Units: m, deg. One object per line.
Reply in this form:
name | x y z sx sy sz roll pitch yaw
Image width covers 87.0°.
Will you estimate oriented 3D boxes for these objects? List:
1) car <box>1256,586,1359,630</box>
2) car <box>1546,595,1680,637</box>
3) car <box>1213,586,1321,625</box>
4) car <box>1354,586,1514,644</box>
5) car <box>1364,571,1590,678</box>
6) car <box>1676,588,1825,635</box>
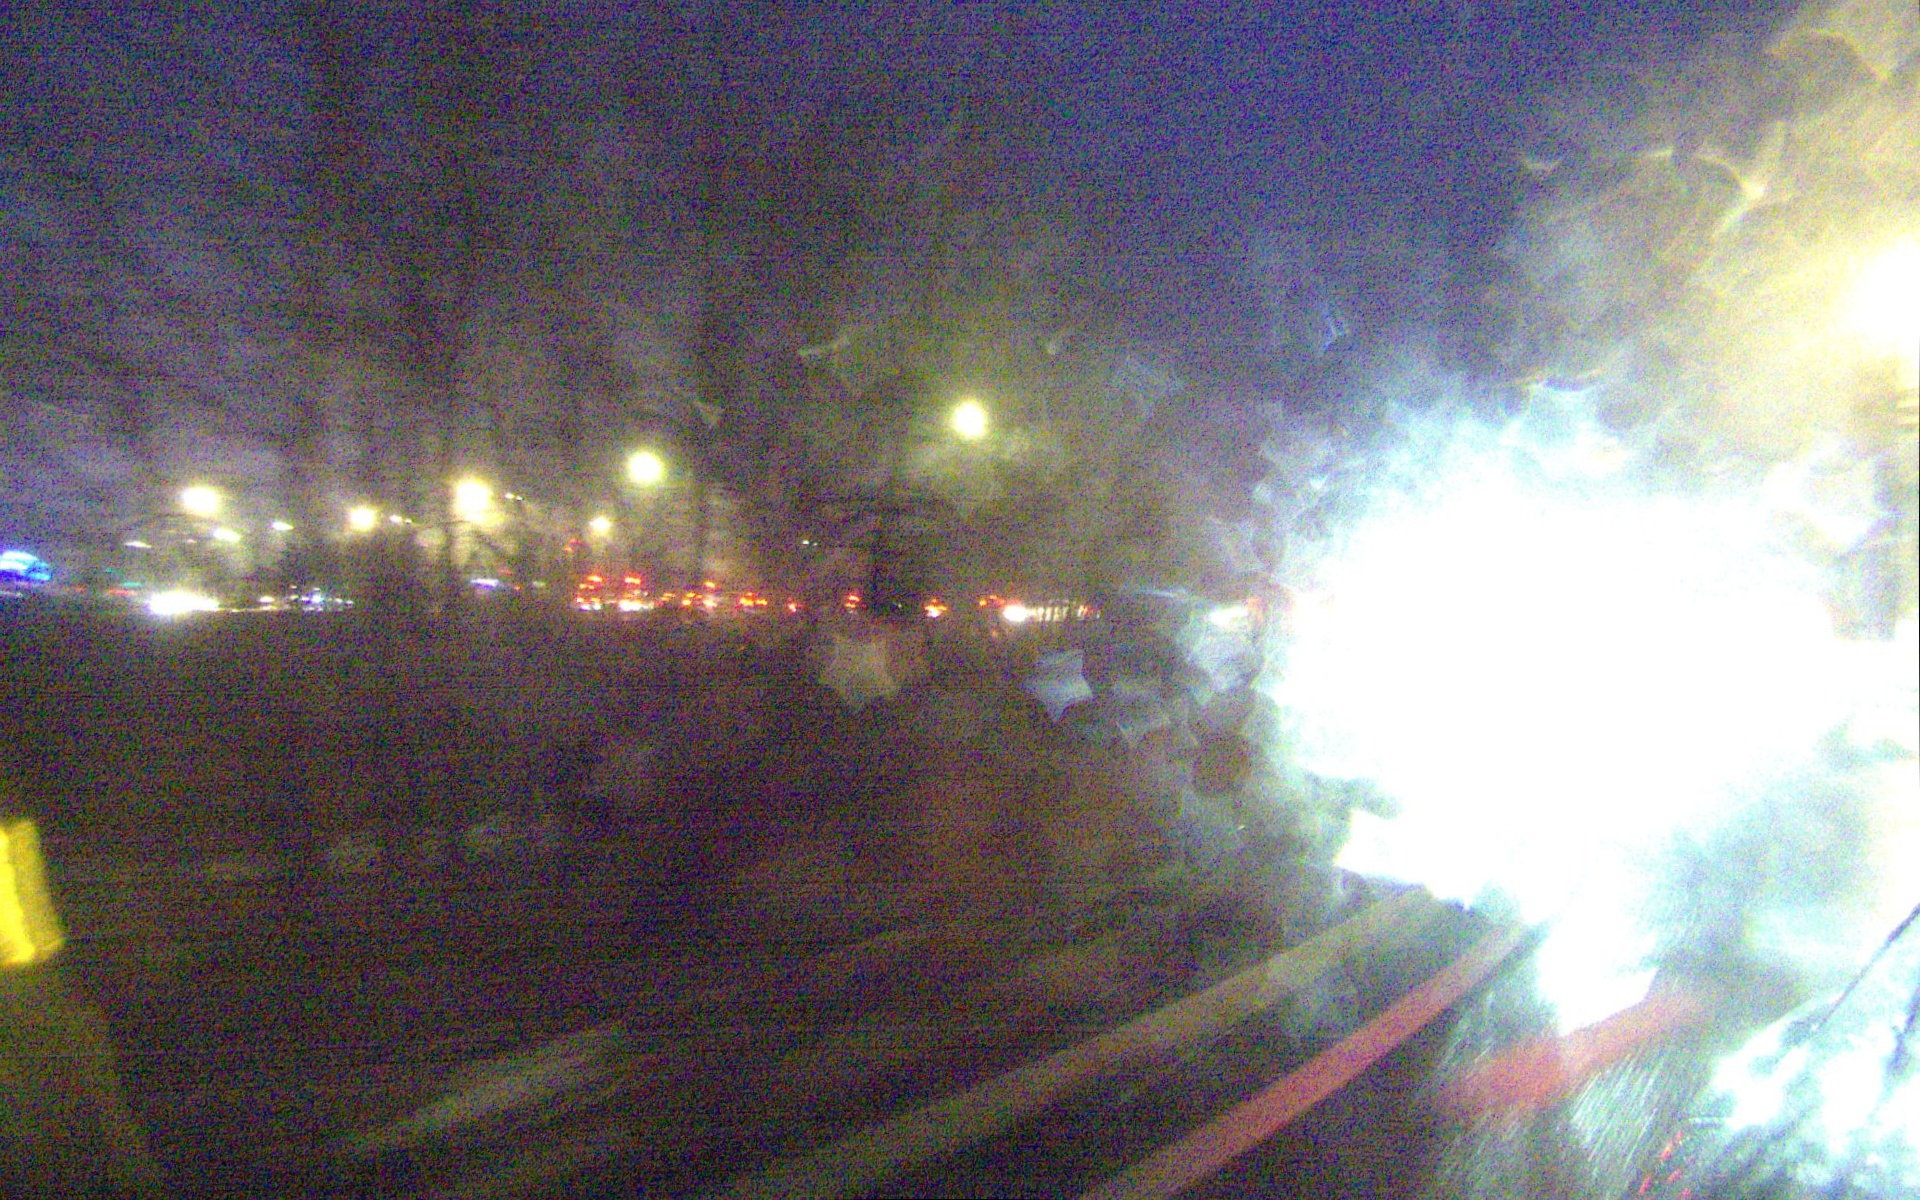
car | 15.951 0.330 46.562 4.187 1.916 1.742 0 0 41
car | 24.737 0.571 38.411 4.078 1.475 1.827 0 0 41
car | 13.492 0.217 44.521 4.221 1.628 1.763 1 0 39
car | 14.554 0.403 31.200 4.122 1.670 1.803 1 0 43
car | 10.497 0.429 20.979 1.964 1.949 4.376 -1 0 -8
car | 26.086 0.356 33.476 3.803 1.467 1.645 0 0 41
